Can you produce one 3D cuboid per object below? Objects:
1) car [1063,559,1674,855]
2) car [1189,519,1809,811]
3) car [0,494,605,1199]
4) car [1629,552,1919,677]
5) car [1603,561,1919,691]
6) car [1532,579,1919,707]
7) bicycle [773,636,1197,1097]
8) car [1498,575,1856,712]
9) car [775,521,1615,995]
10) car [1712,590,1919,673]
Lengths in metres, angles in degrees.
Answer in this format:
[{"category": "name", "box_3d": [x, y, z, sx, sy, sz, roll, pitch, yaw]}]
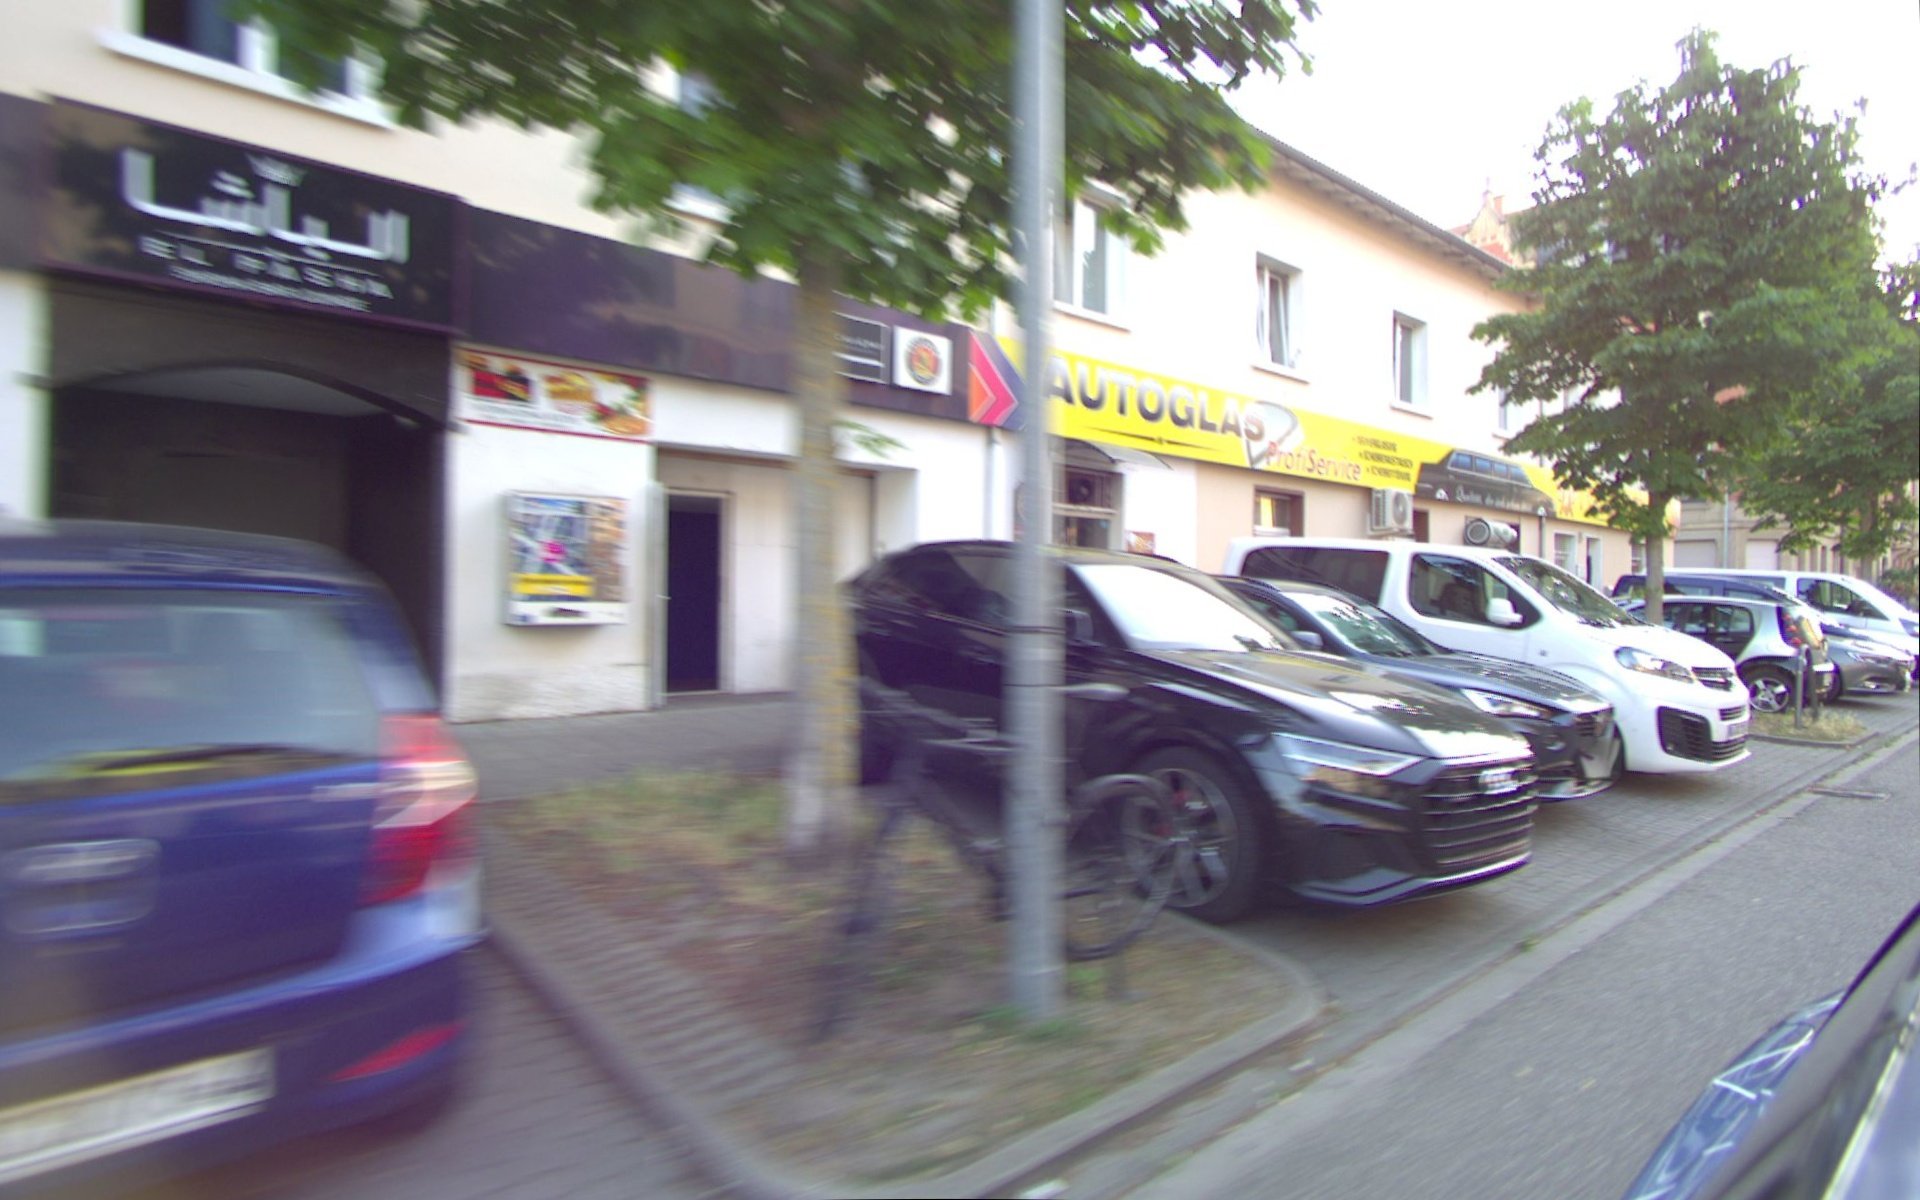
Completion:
[{"category": "car", "box_3d": [2.905, 0.551, 7.949, 1.858, 1.513, 3.999, 0, 5, -39]}, {"category": "car", "box_3d": [4.651, 0.311, 9.437, 1.976, 1.883, 4.602, 0, 5, -39]}, {"category": "car", "box_3d": [-2.841, 0.453, 3.316, 1.813, 1.564, 3.996, 0, 4, -41]}, {"category": "car", "box_3d": [16.025, 0.202, 19.373, 2.111, 2.127, 4.975, -1, 1, -36]}, {"category": "car", "box_3d": [14.051, 0.335, 17.670, 1.963, 1.881, 4.305, 0, 3, -37]}, {"category": "car", "box_3d": [11.811, 0.523, 15.667, 1.965, 1.514, 4.731, 0, 3, -41]}, {"category": "bicycle", "box_3d": [0.184, 0.757, 3.484, 1.732, 1.207, 0.308, 0, 0, -42]}, {"category": "car", "box_3d": [9.933, 0.492, 14.233, 1.652, 1.515, 3.792, 0, 3, -42]}, {"category": "car", "box_3d": [0.890, 0.440, 6.123, 1.963, 1.651, 4.710, 1, 4, -38]}, {"category": "car", "box_3d": [18.188, 0.603, 20.869, 1.691, 1.586, 4.040, 0, 0, -40]}]
